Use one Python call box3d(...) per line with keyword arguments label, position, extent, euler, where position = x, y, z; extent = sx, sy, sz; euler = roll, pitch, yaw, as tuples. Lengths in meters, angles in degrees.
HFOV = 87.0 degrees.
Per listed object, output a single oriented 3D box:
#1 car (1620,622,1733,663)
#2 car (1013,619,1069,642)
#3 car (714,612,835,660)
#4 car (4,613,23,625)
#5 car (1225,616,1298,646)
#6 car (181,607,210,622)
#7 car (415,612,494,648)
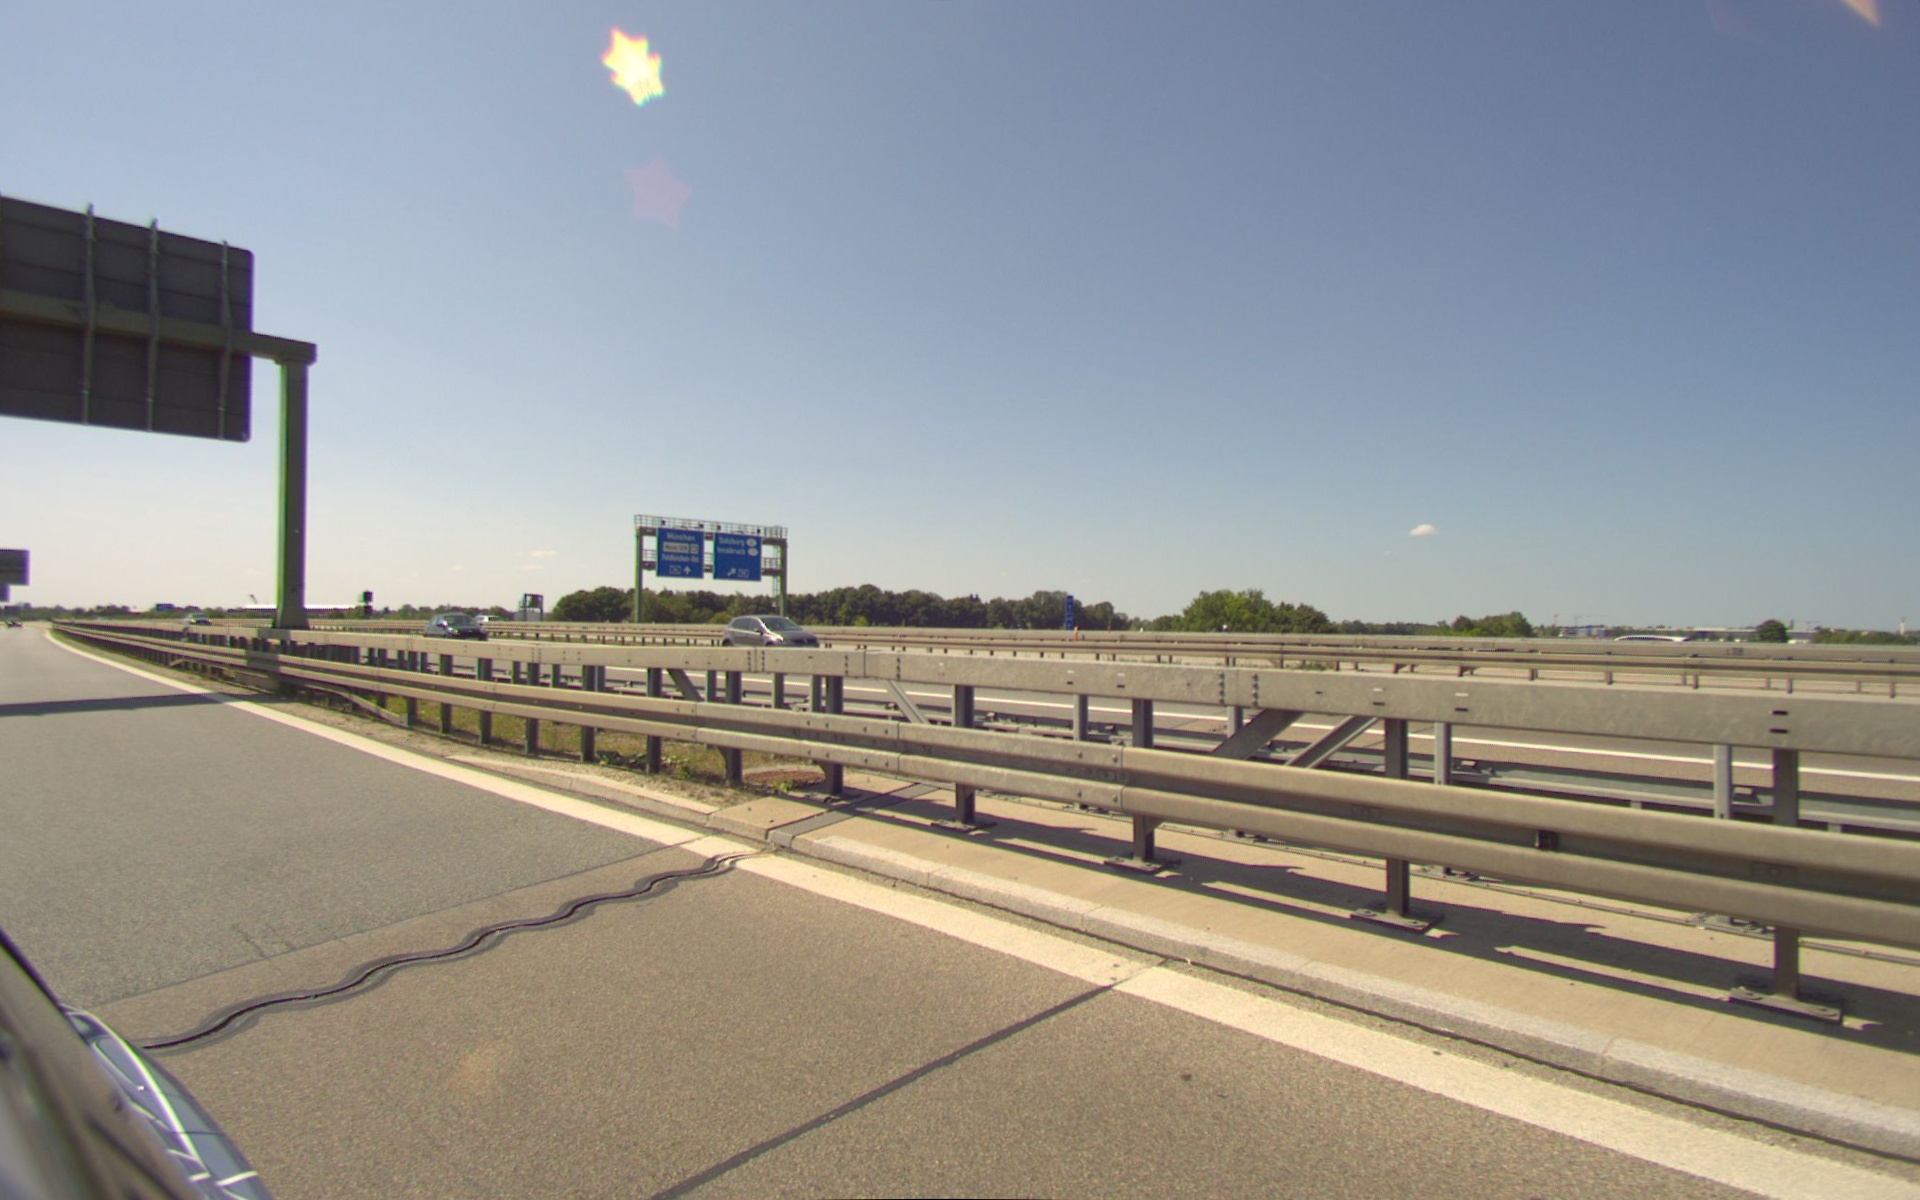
box3d(label="car", position=(27.621, 1.615, 39.036), extent=(3.345, 1.364, 1.560), euler=(2, 0, 44))
box3d(label="car", position=(5.245, 1.961, 65.768), extent=(3.345, 1.364, 1.560), euler=(2, 0, 44))
box3d(label="car", position=(-6.011, 1.108, 32.438), extent=(4.218, 1.433, 1.742), euler=(-1, -1, 45))
box3d(label="car", position=(-142.141, 2.810, 151.961), extent=(1.970, 1.767, 4.003), euler=(1, -1, -44))
box3d(label="car", position=(16.011, 1.631, 53.780), extent=(3.345, 1.364, 1.560), euler=(2, 0, 44))
box3d(label="car", position=(-81.724, 1.519, 108.190), extent=(4.578, 1.529, 1.817), euler=(-1, -1, 45))
box3d(label="car", position=(-21.869, 1.252, 43.690), extent=(4.219, 1.443, 1.809), euler=(-1, -1, 45))
